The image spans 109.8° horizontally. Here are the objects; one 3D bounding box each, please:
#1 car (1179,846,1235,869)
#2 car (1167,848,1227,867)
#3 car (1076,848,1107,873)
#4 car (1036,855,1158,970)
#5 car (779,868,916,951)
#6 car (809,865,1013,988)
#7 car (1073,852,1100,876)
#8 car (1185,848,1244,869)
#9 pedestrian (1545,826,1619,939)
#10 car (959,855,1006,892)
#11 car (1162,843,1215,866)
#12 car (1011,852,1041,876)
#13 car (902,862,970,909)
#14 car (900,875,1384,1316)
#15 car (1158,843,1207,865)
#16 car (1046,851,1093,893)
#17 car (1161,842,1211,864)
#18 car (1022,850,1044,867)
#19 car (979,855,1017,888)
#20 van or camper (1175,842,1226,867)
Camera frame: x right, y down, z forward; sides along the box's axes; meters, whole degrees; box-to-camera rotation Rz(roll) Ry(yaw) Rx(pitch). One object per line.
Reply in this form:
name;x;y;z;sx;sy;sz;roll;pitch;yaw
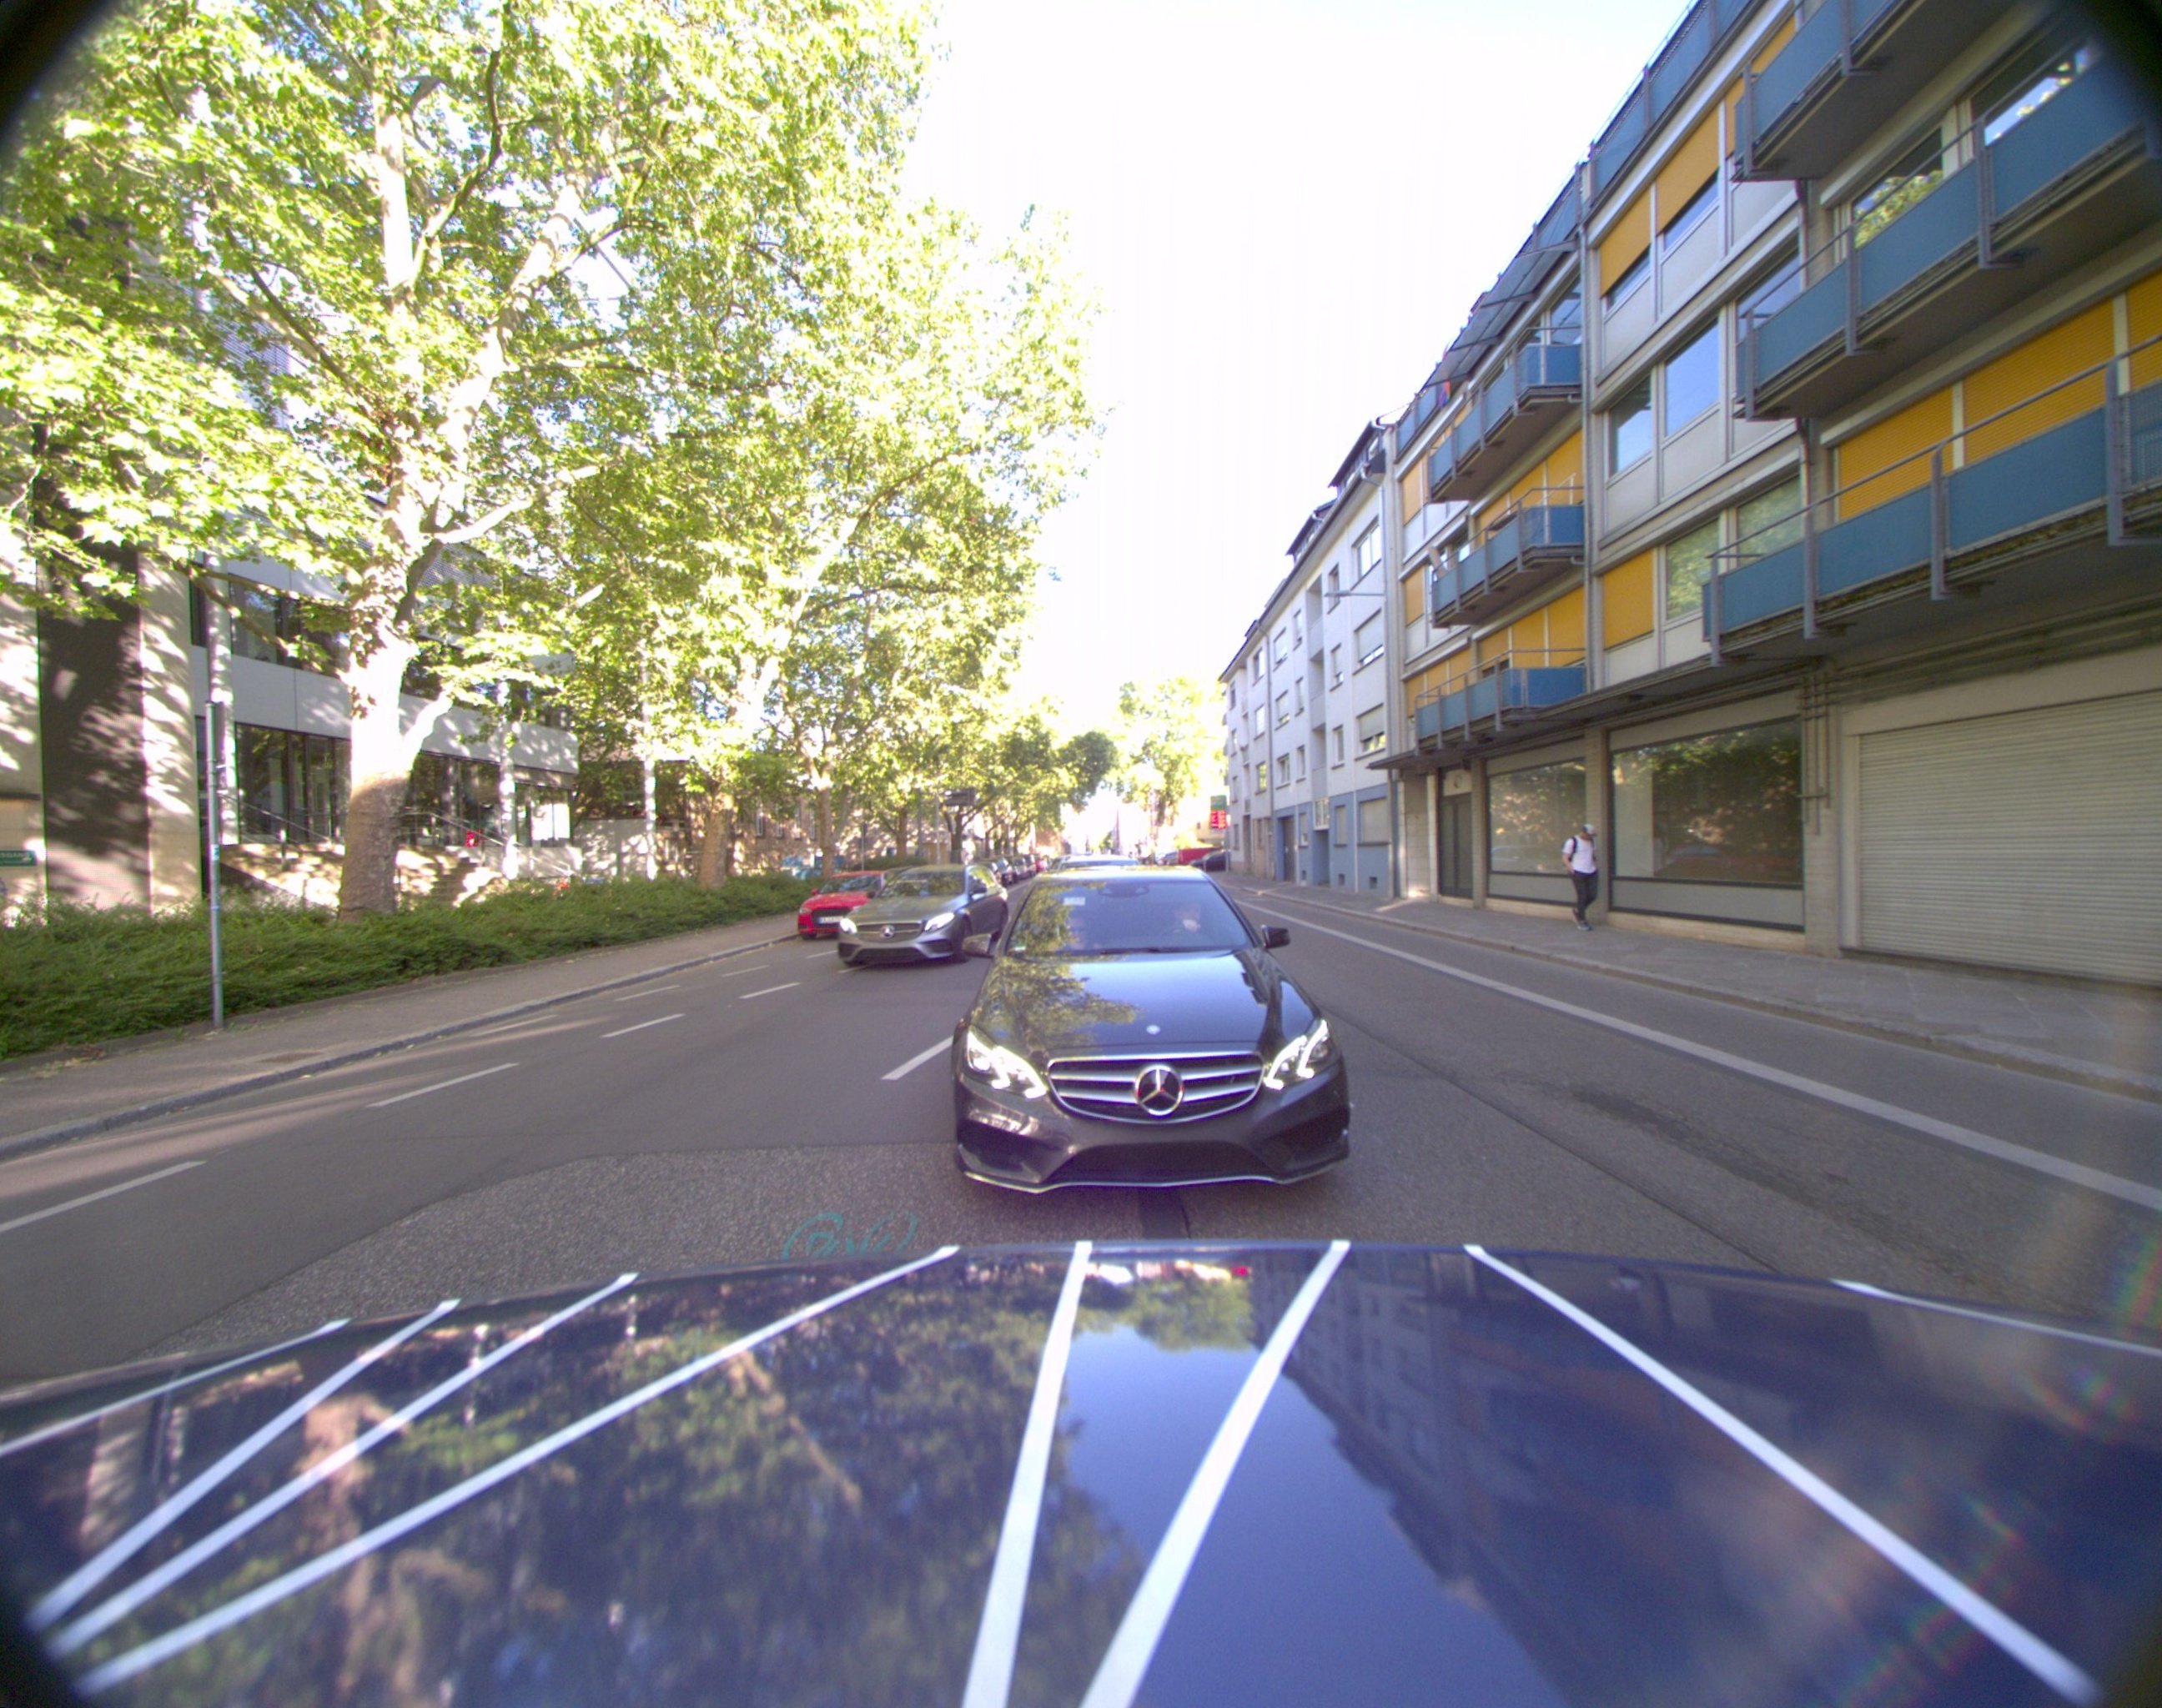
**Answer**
car;10.135;0.269;61.272;4.146;1.681;2.000;-2;0;1
car;10.159;0.284;66.681;4.990;1.486;2.000;-2;0;1
car;0.868;0.492;61.787;1.784;1.760;4.387;-4;0;9
car;0.258;0.835;13.174;1.646;1.520;4.619;-4;0;1
car;-5.229;1.175;17.643;1.830;1.519;4.142;-4;0;0
car;-2.536;1.030;12.686;1.917;1.456;4.670;-3;0;5
car;0.373;0.605;49.206;1.648;1.473;3.976;-1;1;2
car;10.312;0.324;58.941;4.146;1.486;2.000;-2;0;1
pedestrian;8.374;0.460;12.726;0.600;1.790;0.879;-3;1;2
car;-4.795;0.912;37.410;1.741;1.622;4.091;-2;0;0
car;10.912;0.025;77.319;4.990;2.181;2.000;-2;1;1
car;-4.281;0.754;59.652;1.992;1.795;4.376;-2;0;0
car;-5.260;1.103;28.077;1.681;1.484;3.918;-4;0;0
car;0.222;0.940;4.716;1.740;1.448;3.864;-2;0;0
car;11.035;-0.010;82.802;4.990;2.181;2.000;-2;1;1
car;-0.422;0.713;32.313;1.705;1.593;3.860;-2;0;3
car;11.032;-0.103;80.171;4.990;2.181;2.000;-2;1;1
car;-4.386;0.433;70.425;1.741;1.469;4.091;-2;0;0
car;-4.562;0.918;42.096;1.634;1.677;3.907;-2;0;0
van or camper;10.057;0.023;64.179;3.997;2.002;2.000;-2;1;0
